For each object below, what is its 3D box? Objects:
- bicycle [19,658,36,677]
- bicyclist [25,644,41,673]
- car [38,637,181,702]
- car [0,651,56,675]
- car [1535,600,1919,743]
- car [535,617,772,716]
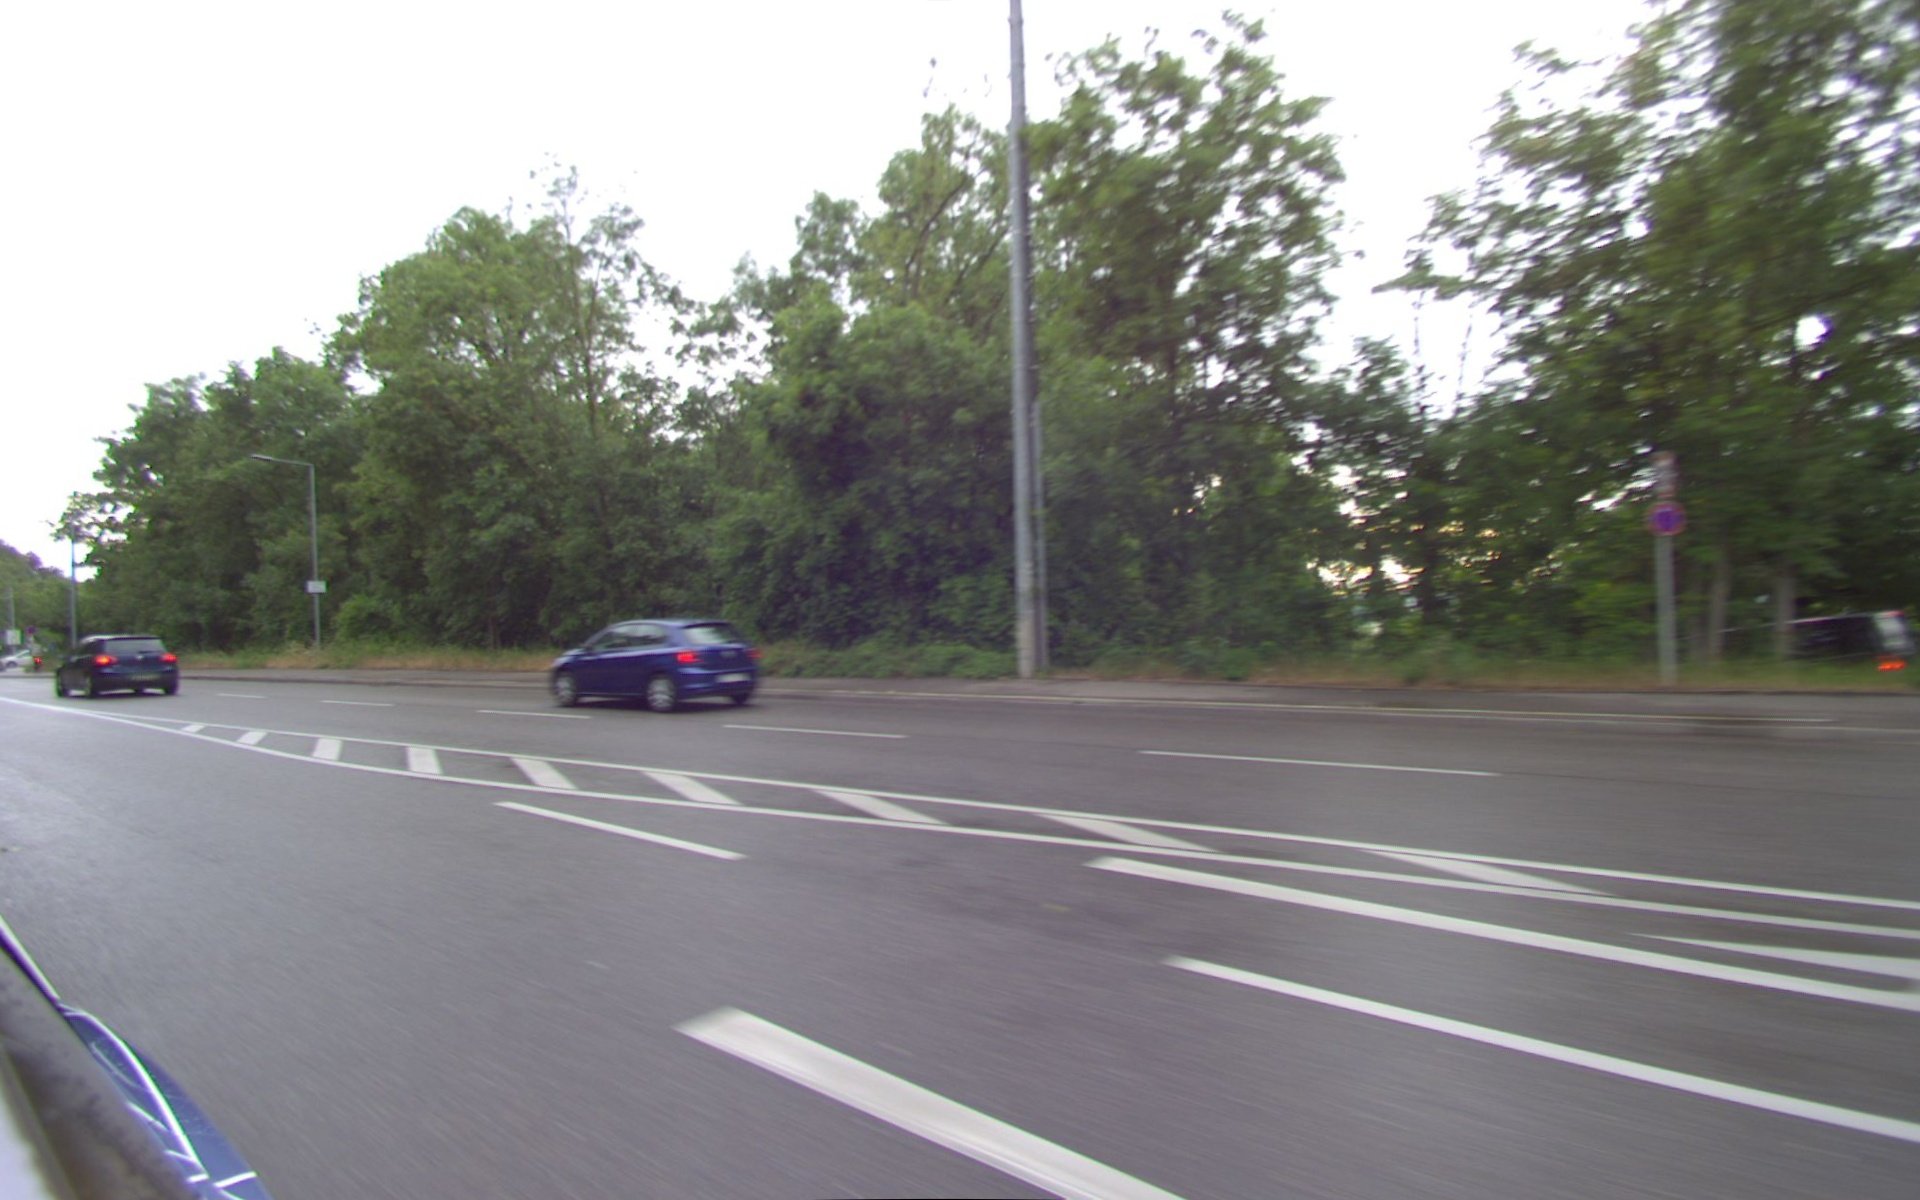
[{"bbox_3d":[-51.826,3.736,56.238,2.016,1.011,0.447,-4,-1,41],"label":"bicycle"},{"bbox_3d":[-51.709,3.255,56.454,0.700,1.598,0.573,-3,-3,41],"label":"bicyclist"},{"bbox_3d":[-20.716,1.654,24.616,4.069,1.438,1.686,-2,-2,35],"label":"car"},{"bbox_3d":[-76.595,5.130,82.190,4.687,1.729,1.896,-1,-1,-45],"label":"car"},{"bbox_3d":[12.707,1.249,16.662,2.073,1.961,5.175,0,-6,-29],"label":"car"},{"bbox_3d":[-5.058,1.028,16.493,3.992,1.405,1.617,-2,-1,36],"label":"car"}]
